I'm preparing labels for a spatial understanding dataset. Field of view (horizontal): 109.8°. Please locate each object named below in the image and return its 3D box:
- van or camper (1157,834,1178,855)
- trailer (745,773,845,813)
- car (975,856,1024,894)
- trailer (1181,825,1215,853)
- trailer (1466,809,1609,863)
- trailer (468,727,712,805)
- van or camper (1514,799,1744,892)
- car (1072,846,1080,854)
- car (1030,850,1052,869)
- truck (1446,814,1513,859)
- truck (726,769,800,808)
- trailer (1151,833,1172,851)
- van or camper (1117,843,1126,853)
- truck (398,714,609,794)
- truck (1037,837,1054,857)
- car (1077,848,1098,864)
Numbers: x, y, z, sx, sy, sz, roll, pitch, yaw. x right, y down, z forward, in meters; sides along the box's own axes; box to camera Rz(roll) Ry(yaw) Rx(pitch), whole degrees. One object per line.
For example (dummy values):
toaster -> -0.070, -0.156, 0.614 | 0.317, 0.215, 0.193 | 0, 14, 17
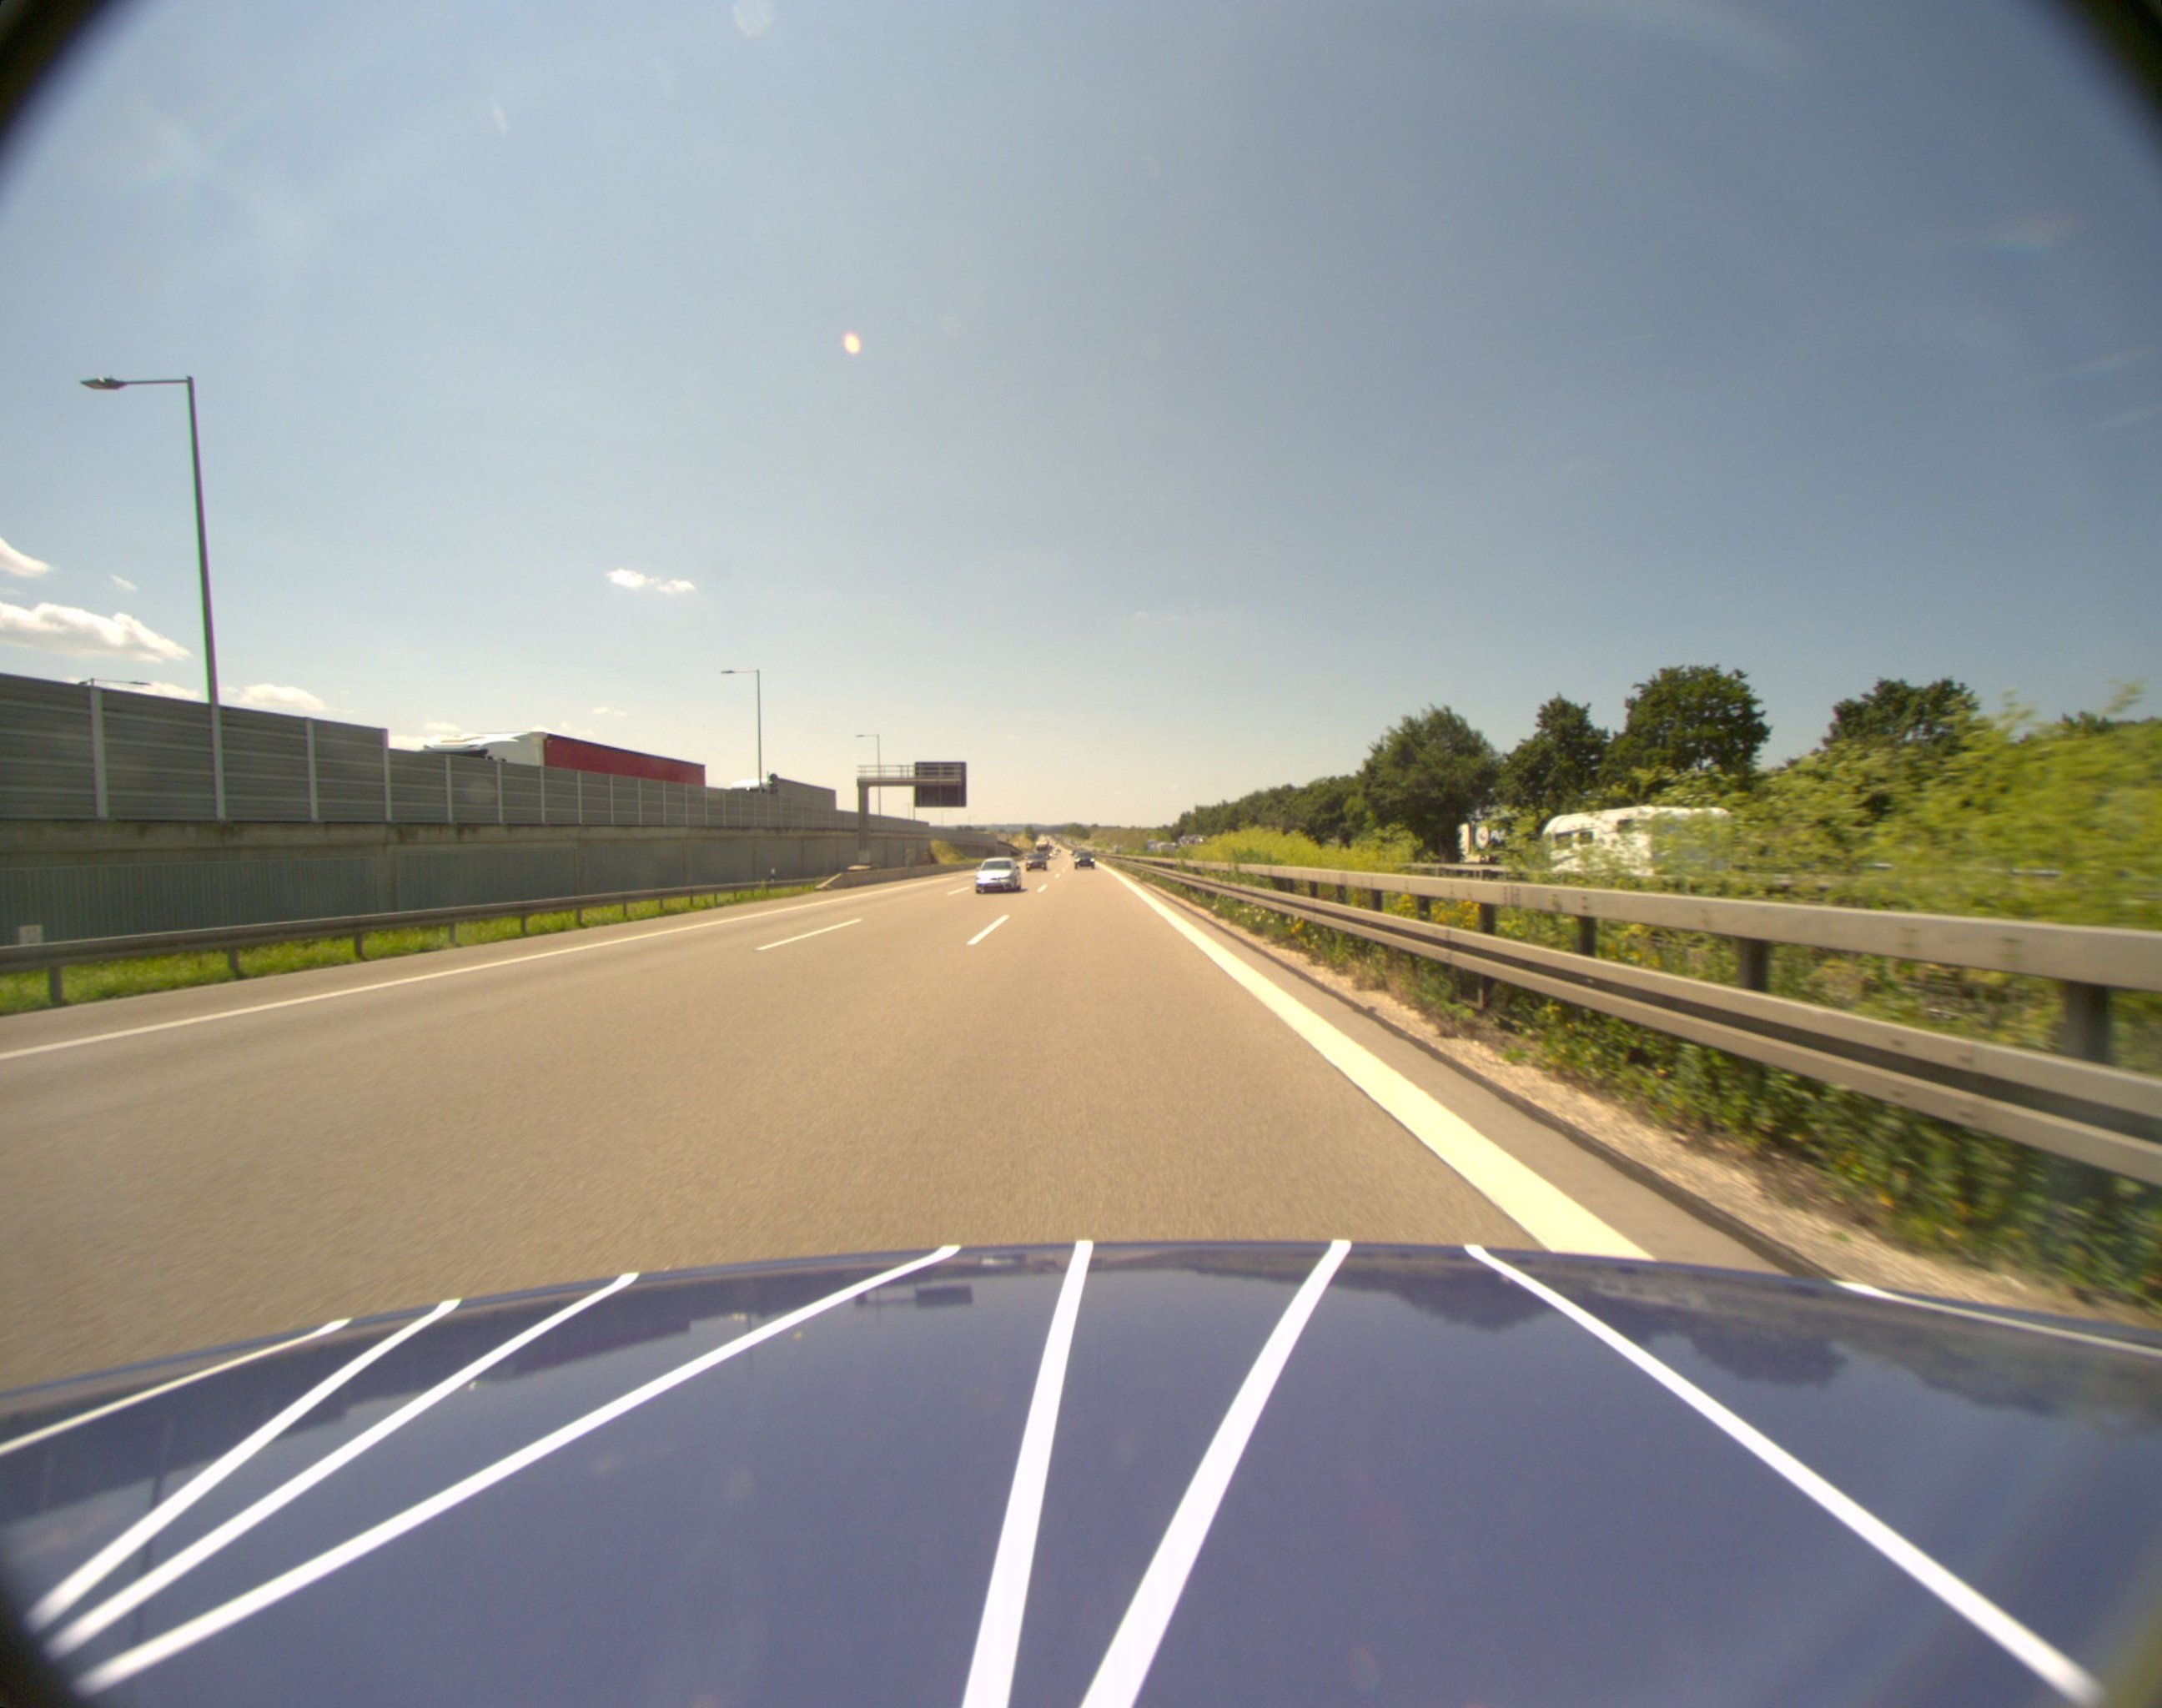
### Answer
van or camper -> 13.692, -1.505, 120.337 | 2.530, 3.249, 7.373 | 0, 1, 0
trailer -> -22.670, -4.715, 61.503 | 2.726, 2.211, 14.523 | -2, 1, -1
car -> -3.395, 0.852, 32.280 | 1.634, 1.381, 3.999 | -2, 1, -1
trailer -> 17.582, -2.222, 114.935 | 2.692, 3.825, 15.176 | -2, 1, 0
trailer -> 35.900, -1.394, 60.904 | 2.775, 3.757, 14.408 | -2, 1, 0
trailer -> -22.377, -3.852, 36.368 | 2.726, 2.211, 14.016 | -2, 1, -1
van or camper -> 17.001, -0.255, 24.275 | 2.542, 2.521, 6.709 | -1, 0, 0
car -> -1.331, -1.193, 215.498 | 1.998, 2.002, 3.999 | -2, 1, 1
car -> -3.611, 0.489, 69.360 | 1.751, 1.559, 3.999 | -2, 1, -1
truck -> 35.927, -1.559, 68.785 | 2.803, 3.761, 6.097 | -2, 1, 0
truck -> -22.524, -4.578, 54.177 | 2.730, 2.218, 6.035 | -2, 1, -1
trailer -> 17.621, -2.597, 167.628 | 2.850, 3.713, 14.527 | -2, 1, 0
van or camper -> 12.267, -1.947, 229.540 | 2.276, 2.952, 6.952 | 1, 1, 0
truck -> -22.236, -3.742, 29.931 | 2.715, 2.192, 7.285 | -2, 1, -1
truck -> -7.858, -1.598, 167.982 | 3.368, 4.038, 11.732 | -2, 1, -3
car -> 0.577, 0.159, 70.613 | 1.751, 1.439, 3.999 | -1, 1, -1
